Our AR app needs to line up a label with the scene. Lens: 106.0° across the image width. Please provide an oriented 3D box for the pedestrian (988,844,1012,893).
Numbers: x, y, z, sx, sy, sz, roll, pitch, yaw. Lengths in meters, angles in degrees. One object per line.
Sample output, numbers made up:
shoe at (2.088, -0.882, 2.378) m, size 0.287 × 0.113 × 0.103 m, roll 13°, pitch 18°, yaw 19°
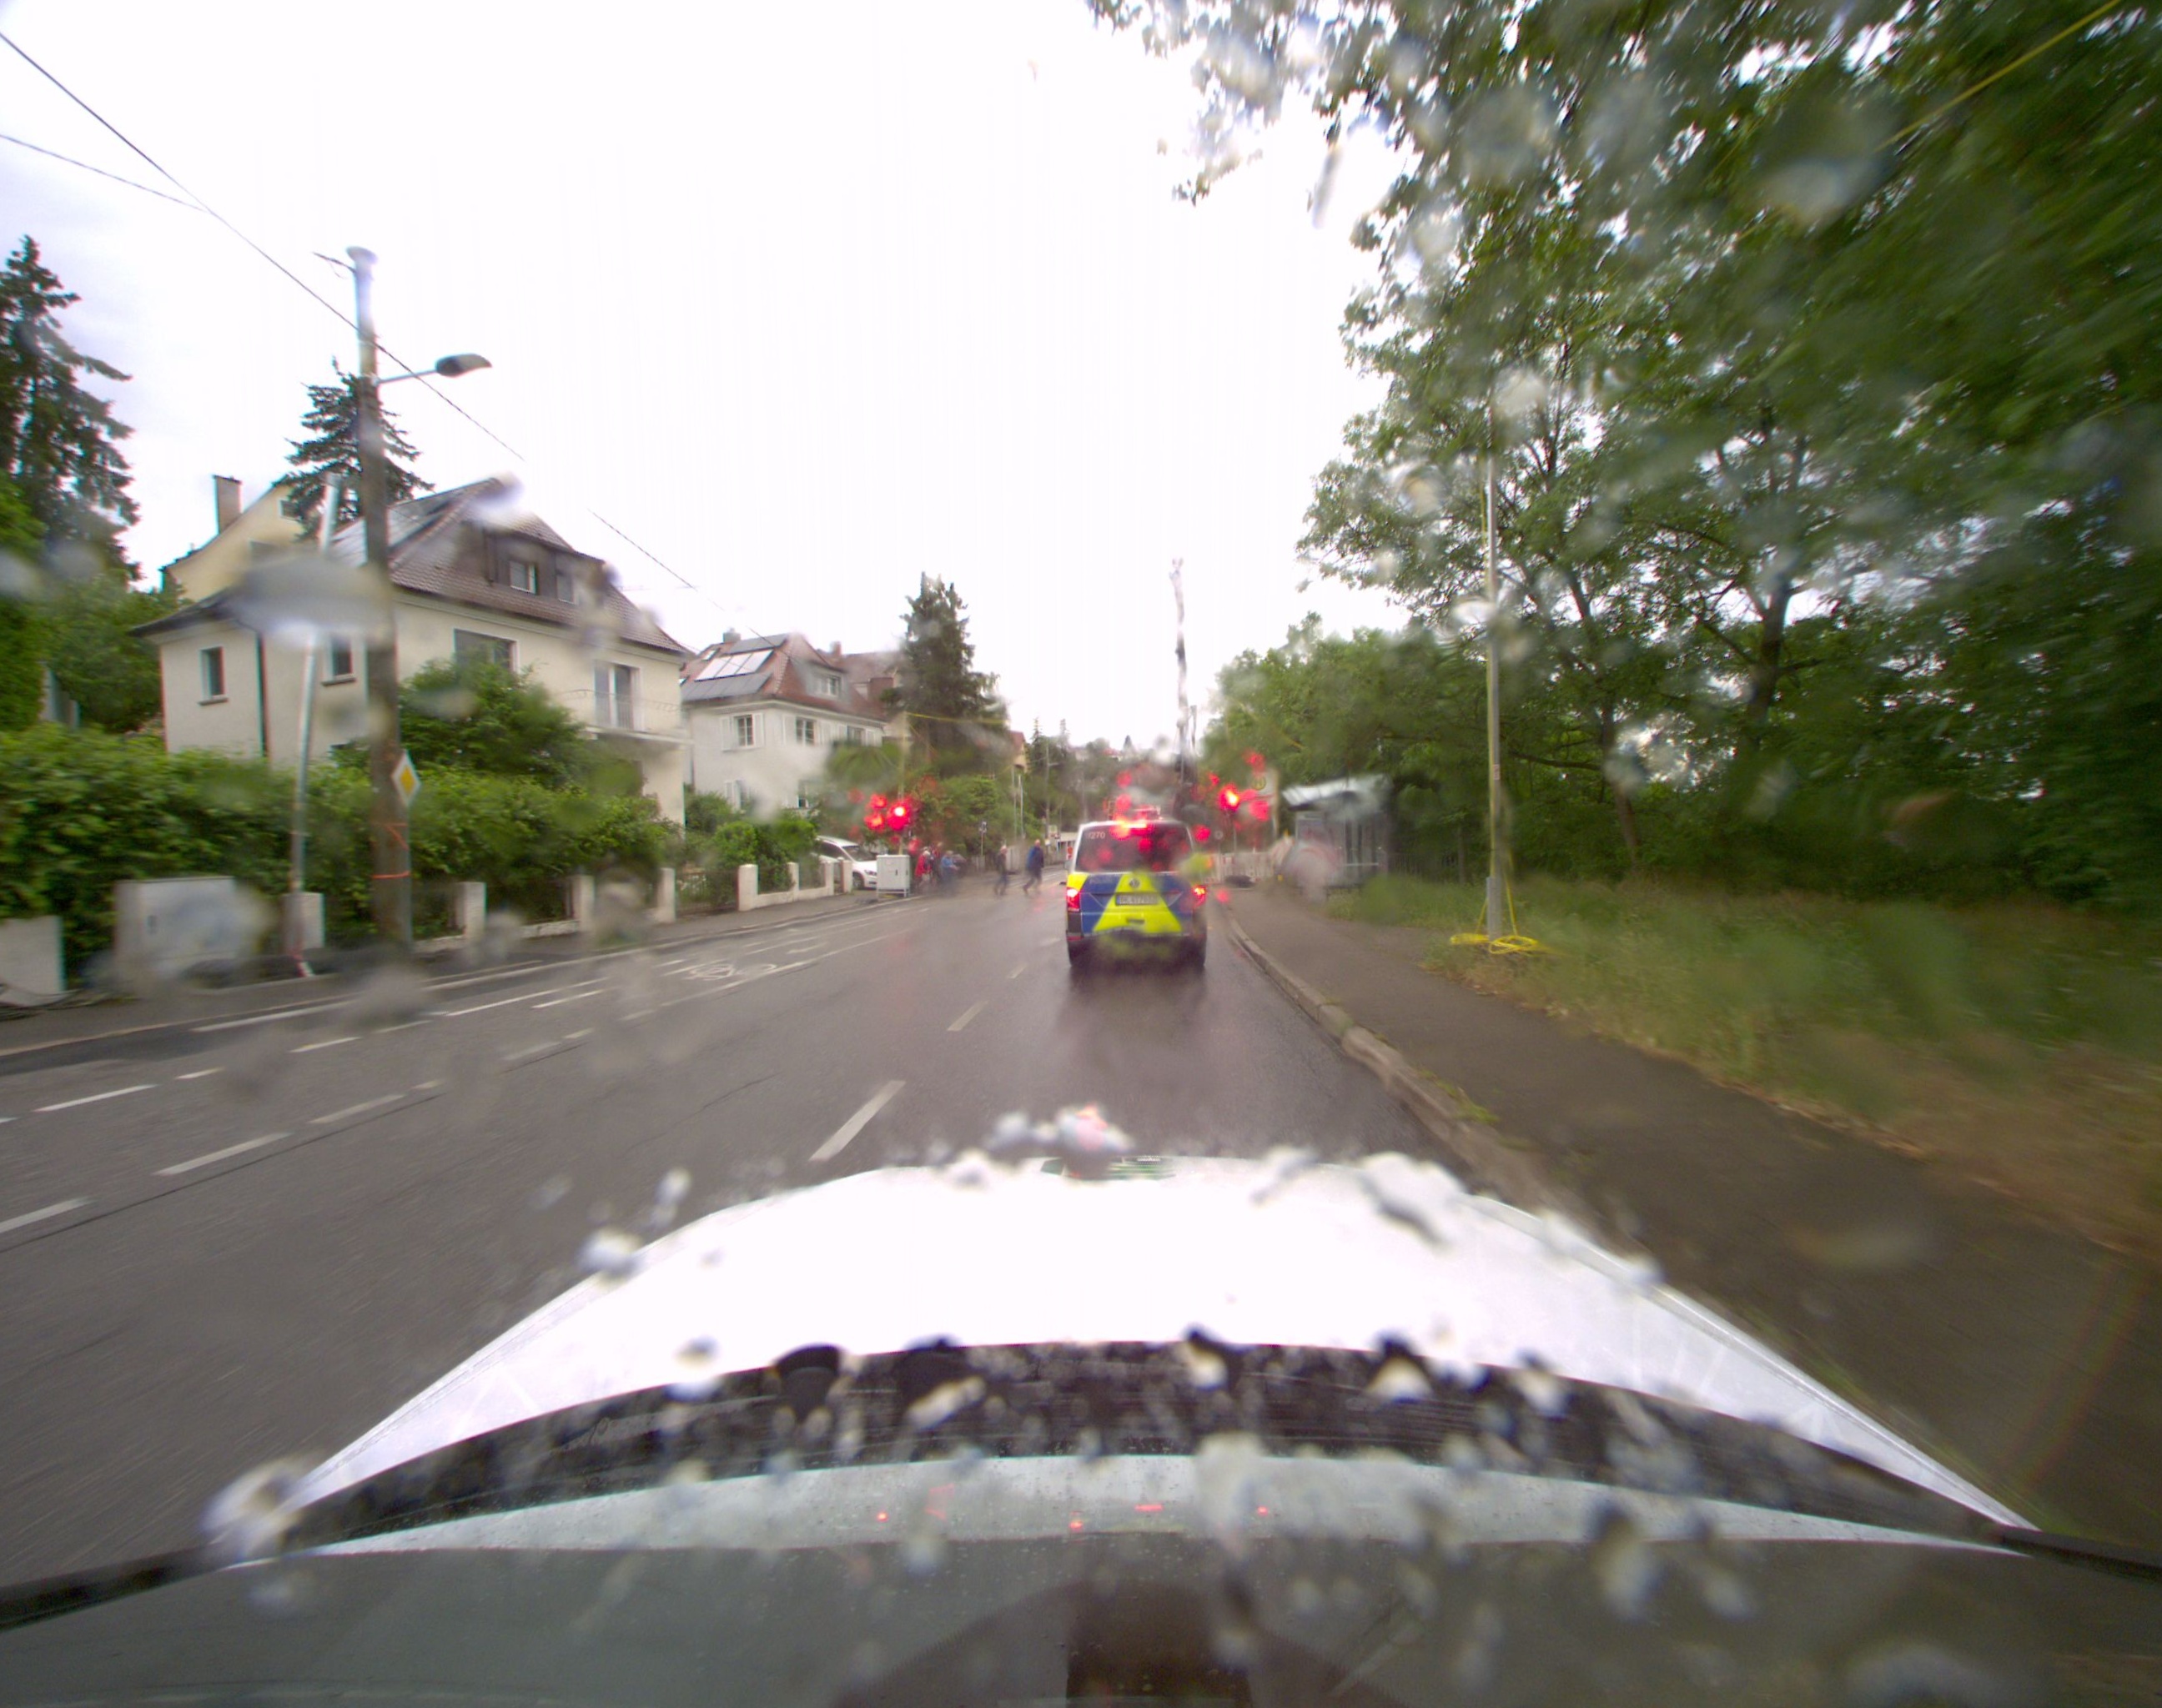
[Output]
pedestrian at (-2.679, 0.473, 26.883) m, size 0.683 × 1.604 × 0.606 m, roll 0°, pitch -2°, yaw 1°

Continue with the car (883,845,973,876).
car at (-7.603, 0.352, 40.610) m, size 3.959 × 1.486 × 1.766 m, roll 0°, pitch -2°, yaw 13°

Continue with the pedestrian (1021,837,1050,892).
pedestrian at (-1.511, 0.360, 27.184) m, size 0.886 × 1.787 × 0.829 m, roll 0°, pitch -2°, yaw 1°

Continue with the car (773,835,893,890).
car at (-9.441, 0.320, 31.071) m, size 3.958 × 2.013 × 1.837 m, roll -1°, pitch 0°, yaw 14°

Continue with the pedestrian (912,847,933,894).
pedestrian at (-5.380, 0.549, 27.707) m, size 0.560 × 1.582 × 0.469 m, roll 0°, pitch -2°, yaw 4°

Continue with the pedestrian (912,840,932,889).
pedestrian at (-5.523, 0.360, 28.251) m, size 0.546 × 1.668 × 0.414 m, roll 0°, pitch -2°, yaw 4°

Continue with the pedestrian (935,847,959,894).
pedestrian at (-4.432, 0.553, 26.974) m, size 0.623 × 1.522 × 0.593 m, roll 0°, pitch -2°, yaw 4°

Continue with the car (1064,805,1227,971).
car at (0.823, 0.361, 12.113) m, size 1.986 × 2.013 × 4.403 m, roll 0°, pitch 1°, yaw 1°

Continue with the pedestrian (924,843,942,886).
pedestrian at (-5.233, 0.358, 28.830) m, size 0.523 × 1.507 × 0.430 m, roll 0°, pitch -2°, yaw 4°

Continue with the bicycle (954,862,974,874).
bicycle at (-6.249, 0.747, 43.491) m, size 1.046 × 0.662 × 0.321 m, roll 0°, pitch -2°, yaw 13°

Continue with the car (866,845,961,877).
car at (-7.888, 0.334, 38.469) m, size 3.959 × 1.486 × 1.766 m, roll 0°, pitch -2°, yaw 13°

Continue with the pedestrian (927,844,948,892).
pedestrian at (-5.187, 0.494, 29.459) m, size 0.623 × 1.715 × 0.593 m, roll 0°, pitch -2°, yaw 4°
